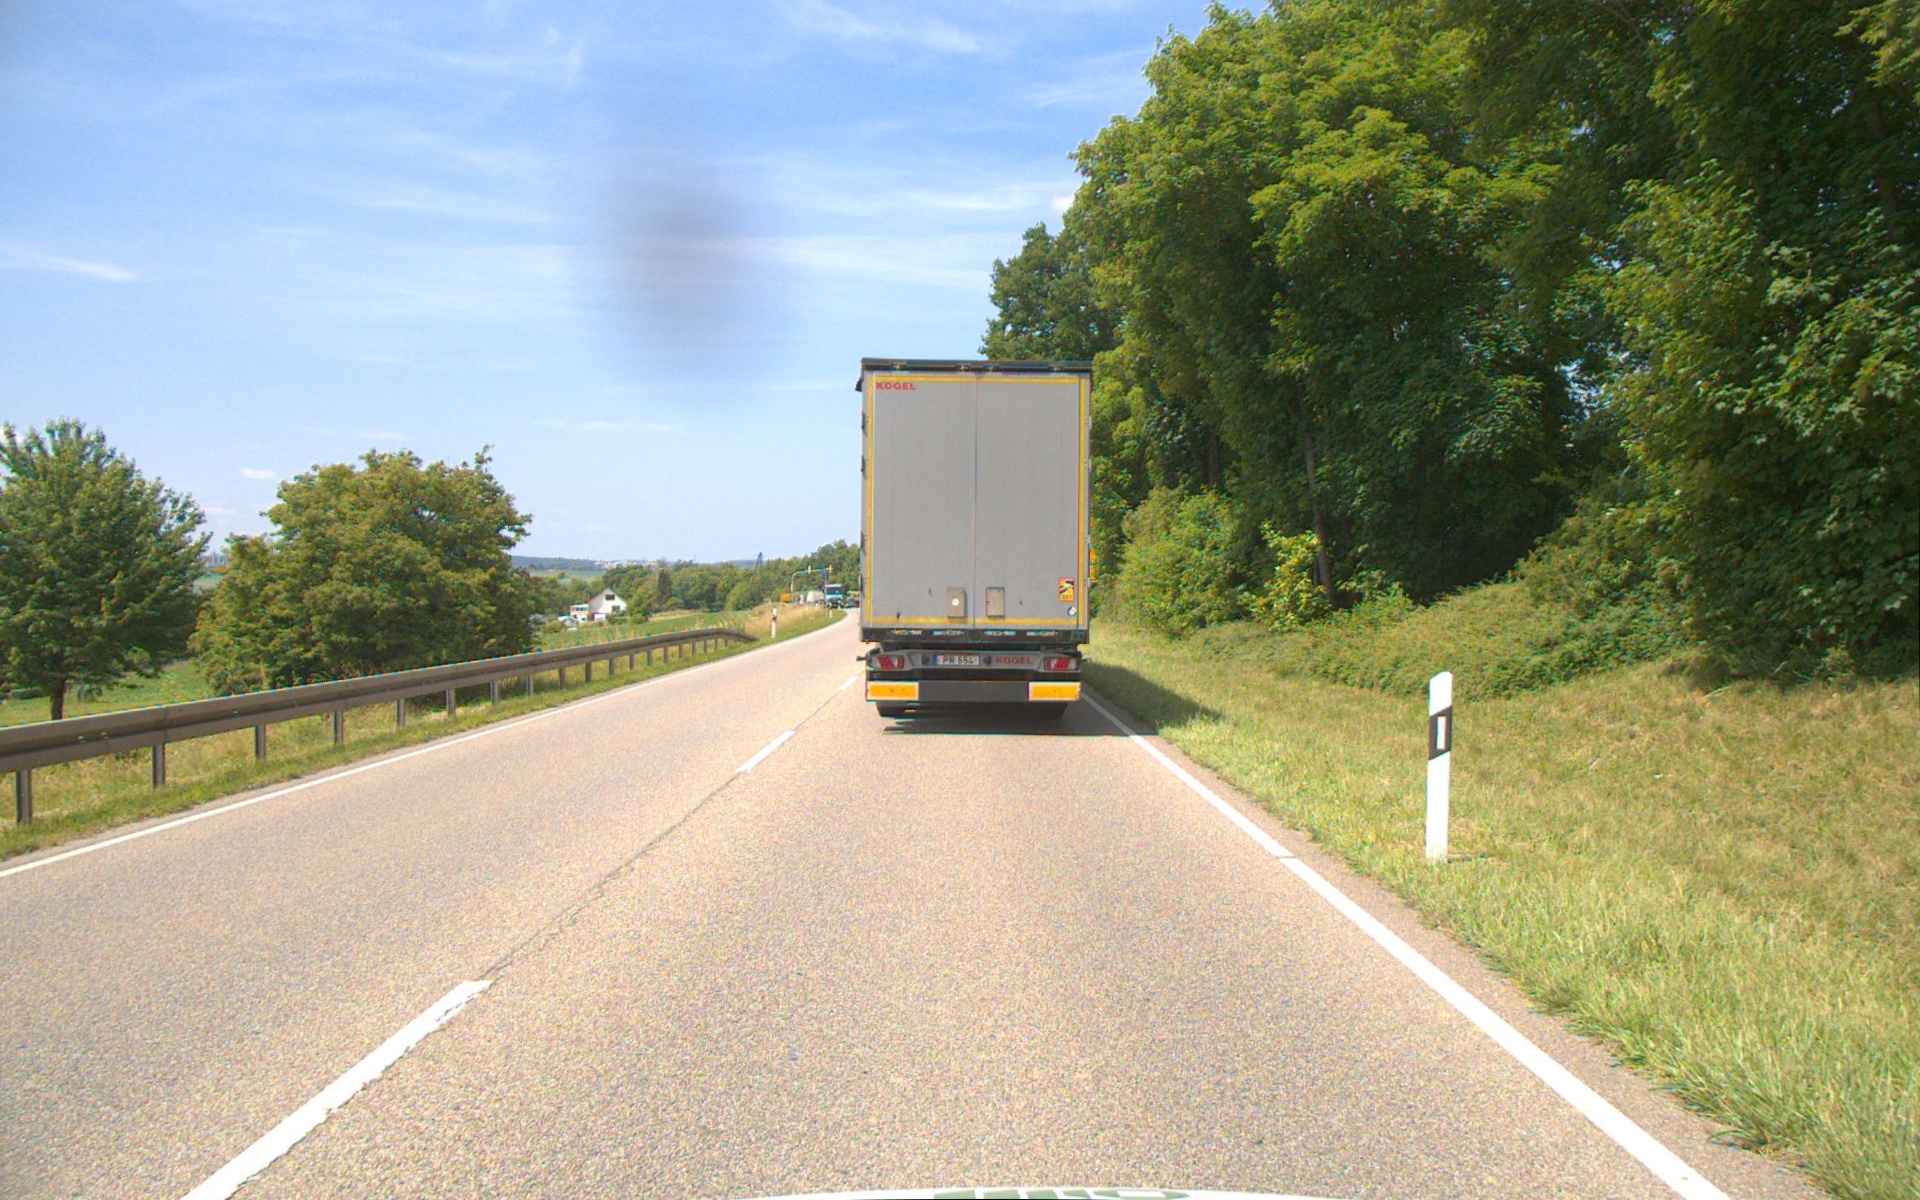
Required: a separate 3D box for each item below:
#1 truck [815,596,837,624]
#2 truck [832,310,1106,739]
[{"bbox_3d":[-17.958,1.398,222.811,2.702,3.638,11.055,-3,-1,-4],"label":"truck"},{"bbox_3d":[0.097,-0.807,21.842,2.847,4.487,8.859,0,0,0],"label":"truck"}]
